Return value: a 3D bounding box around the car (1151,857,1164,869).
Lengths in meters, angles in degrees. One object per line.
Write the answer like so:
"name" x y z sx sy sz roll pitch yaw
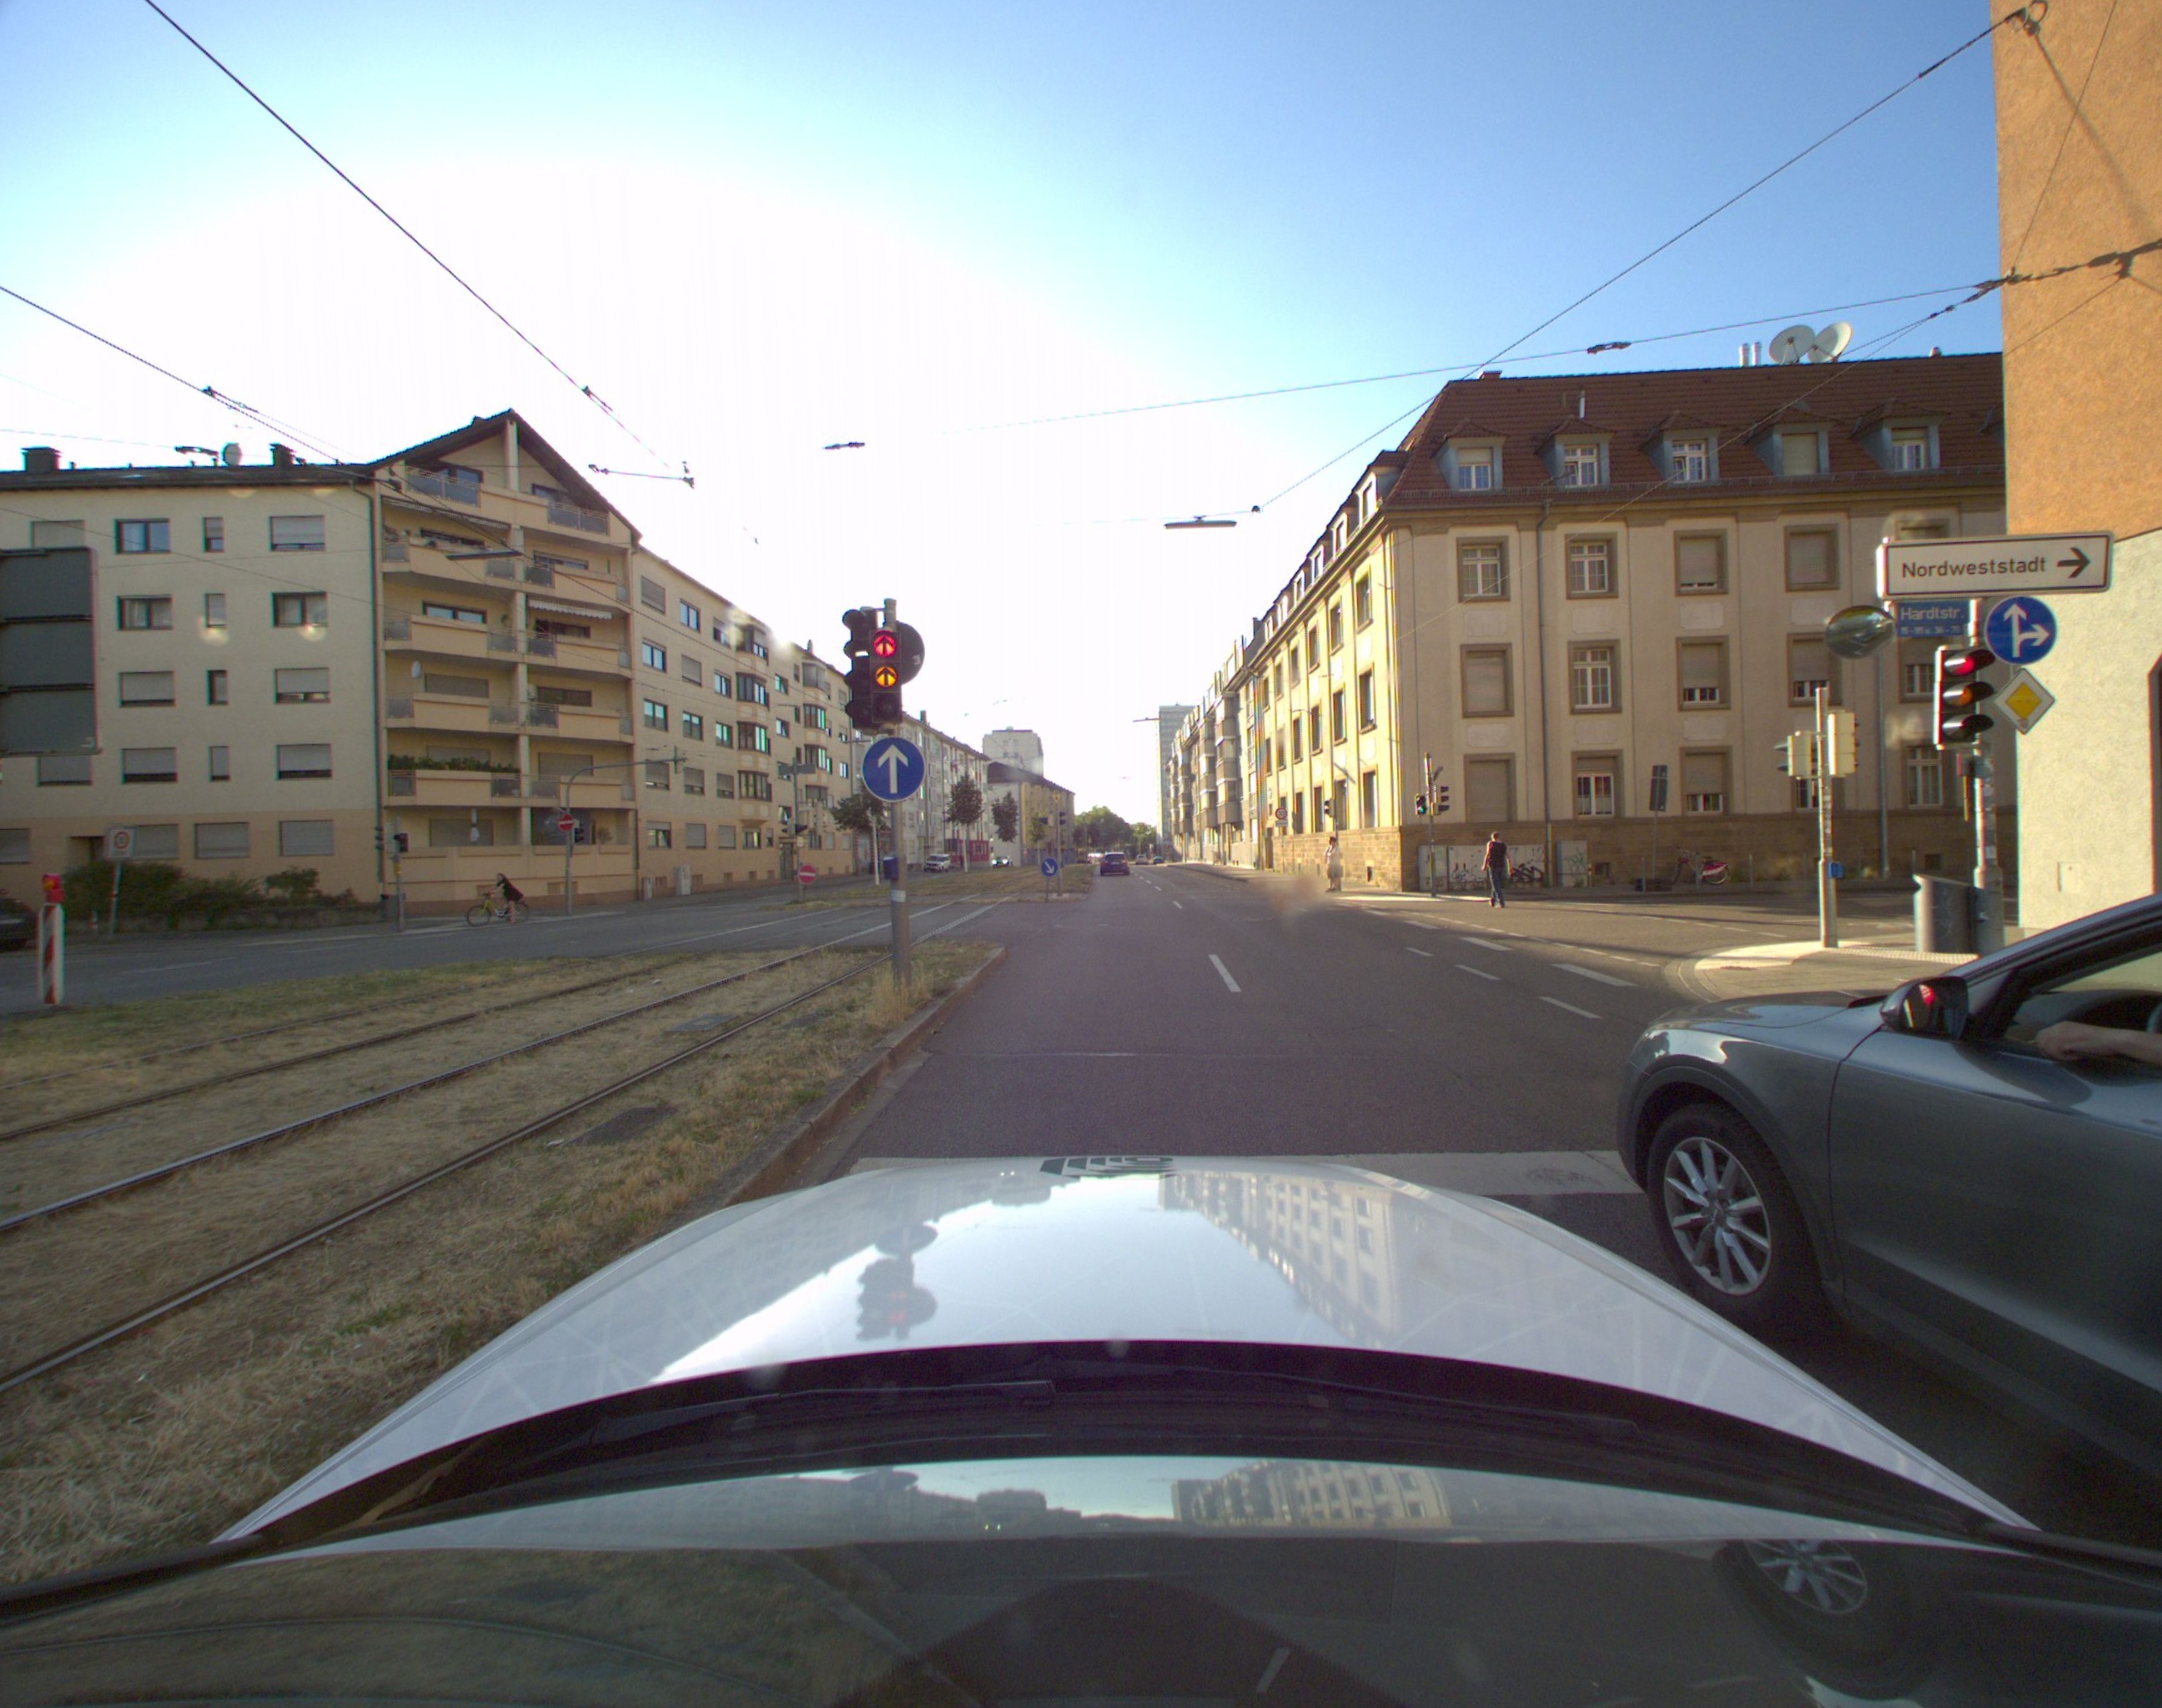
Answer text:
"car" 13.921 1.576 147.831 1.986 2.013 4.002 -2 0 2

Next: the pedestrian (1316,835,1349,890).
"pedestrian" 8.136 0.283 26.398 0.832 1.762 0.824 0 -1 1

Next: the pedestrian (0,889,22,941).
"pedestrian" -32.866 1.859 24.818 0.546 1.552 0.517 -1 0 7

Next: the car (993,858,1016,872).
"car" -9.470 1.324 101.318 1.888 1.633 4.754 -2 0 5

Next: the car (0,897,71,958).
"car" -30.147 2.031 21.534 3.983 1.442 1.996 -2 1 -7

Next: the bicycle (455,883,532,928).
"bicycle" -18.235 1.585 25.333 0.450 1.257 1.883 -1 1 34

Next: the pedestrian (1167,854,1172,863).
"pedestrian" 12.401 0.686 114.056 0.689 1.234 0.736 0 -1 1

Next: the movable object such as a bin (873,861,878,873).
"movable object such as a bin" -17.489 1.103 69.425 0.297 1.036 0.441 0 -1 1

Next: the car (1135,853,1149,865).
"car" 8.916 0.733 118.646 1.985 1.564 4.003 0 -1 3

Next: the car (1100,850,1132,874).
"car" 2.159 0.487 50.592 1.919 1.456 4.329 0 0 2

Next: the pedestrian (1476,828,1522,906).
"pedestrian" 9.643 0.301 18.818 0.627 1.758 0.826 0 -1 1

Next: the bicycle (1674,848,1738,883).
"bicycle" 18.412 0.337 24.025 1.491 1.018 0.251 -1 -1 17

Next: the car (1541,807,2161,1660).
"car" 2.804 0.683 1.449 1.691 1.552 4.227 -1 0 2

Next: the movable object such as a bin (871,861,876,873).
"movable object such as a bin" -17.551 1.111 68.752 0.297 1.036 0.442 0 -1 2

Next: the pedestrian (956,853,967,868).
"pedestrian" -14.864 0.808 101.095 1.268 1.761 1.271 0 -1 -8

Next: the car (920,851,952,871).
"car" -14.573 0.705 82.095 1.984 1.925 4.548 0 -1 5

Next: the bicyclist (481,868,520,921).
"bicyclist" -18.145 1.258 25.460 0.620 1.586 0.814 -1 0 35
